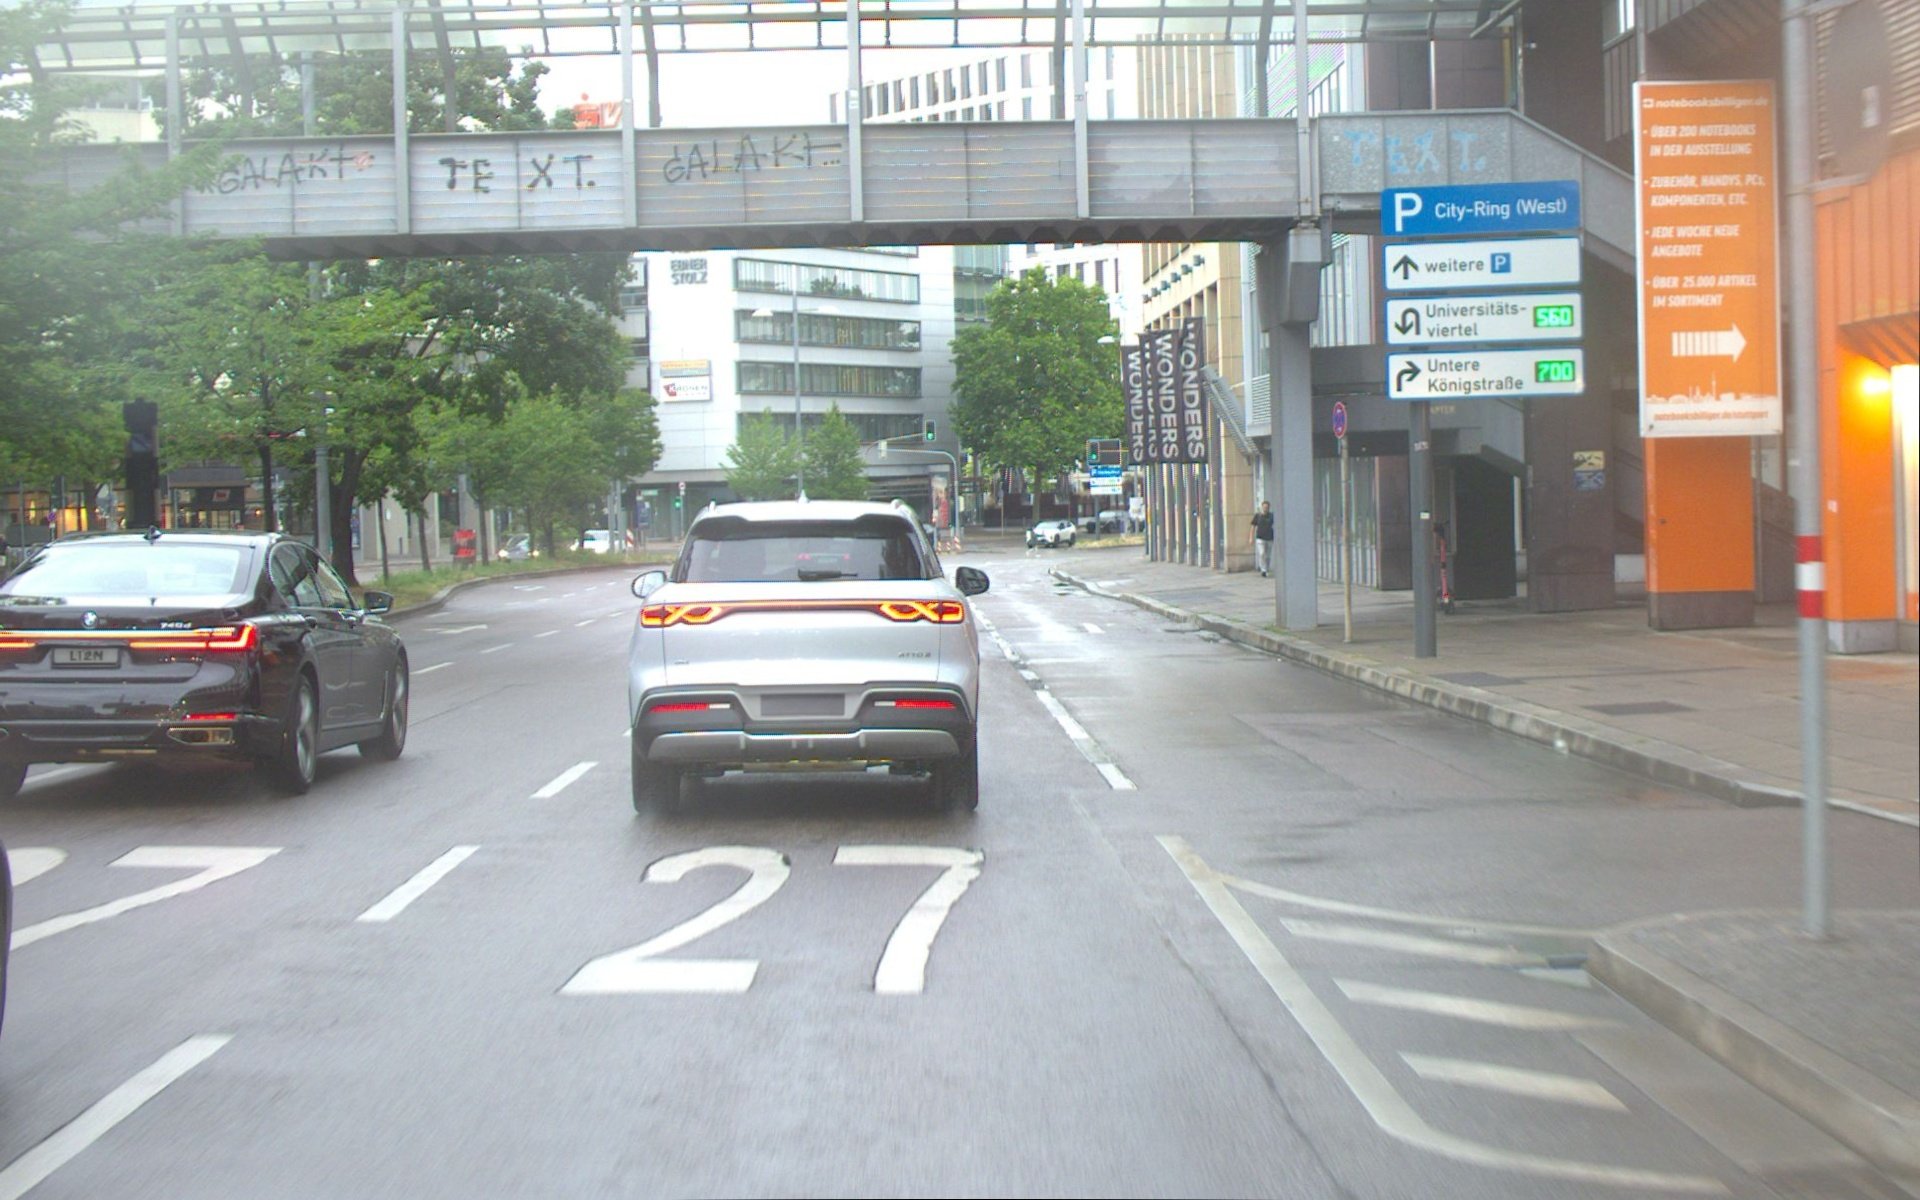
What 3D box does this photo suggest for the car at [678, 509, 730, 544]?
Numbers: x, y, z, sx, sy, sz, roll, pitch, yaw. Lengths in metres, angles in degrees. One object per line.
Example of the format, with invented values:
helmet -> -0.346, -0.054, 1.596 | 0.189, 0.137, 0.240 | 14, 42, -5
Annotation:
car -> -10.037, -2.900, 135.015 | 1.653, 1.337, 4.000 | -1, 1, 1

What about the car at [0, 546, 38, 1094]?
car -> -3.405, 0.612, 7.431 | 1.672, 1.474, 4.361 | 0, 1, 0

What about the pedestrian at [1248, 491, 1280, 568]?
pedestrian -> 7.016, -1.625, 79.366 | 0.635, 1.766, 0.790 | -1, 1, -1

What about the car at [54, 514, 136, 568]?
car -> -26.385, -1.803, 104.979 | 1.623, 1.605, 4.233 | 0, 1, -3

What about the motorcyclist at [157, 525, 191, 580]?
motorcyclist -> -20.170, -1.219, 88.221 | 0.638, 1.413, 0.970 | -1, 1, -1

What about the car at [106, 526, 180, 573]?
car -> -26.372, -1.647, 111.080 | 1.623, 1.455, 3.963 | 0, 1, -3

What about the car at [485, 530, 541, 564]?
car -> -17.933, -2.112, 138.053 | 1.623, 1.307, 3.618 | -1, 1, 2

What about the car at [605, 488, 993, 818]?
car -> -0.831, 0.221, 18.956 | 1.901, 1.616, 4.000 | 0, 1, -1

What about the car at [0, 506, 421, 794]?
car -> -4.465, 0.259, 20.389 | 1.872, 1.474, 4.878 | -1, 0, -2

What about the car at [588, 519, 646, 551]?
car -> -16.386, -3.092, 164.281 | 1.624, 1.487, 4.305 | -1, 1, 10

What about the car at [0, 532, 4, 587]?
car -> -25.825, -1.023, 87.995 | 1.623, 1.428, 4.446 | -1, 1, -3

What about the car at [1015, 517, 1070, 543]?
car -> 5.012, -4.274, 208.438 | 1.583, 1.533, 3.994 | 0, 2, 30

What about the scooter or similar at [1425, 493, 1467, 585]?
scooter or similar -> 6.769, -0.855, 47.894 | 0.349, 1.251, 1.395 | -1, 1, -1
